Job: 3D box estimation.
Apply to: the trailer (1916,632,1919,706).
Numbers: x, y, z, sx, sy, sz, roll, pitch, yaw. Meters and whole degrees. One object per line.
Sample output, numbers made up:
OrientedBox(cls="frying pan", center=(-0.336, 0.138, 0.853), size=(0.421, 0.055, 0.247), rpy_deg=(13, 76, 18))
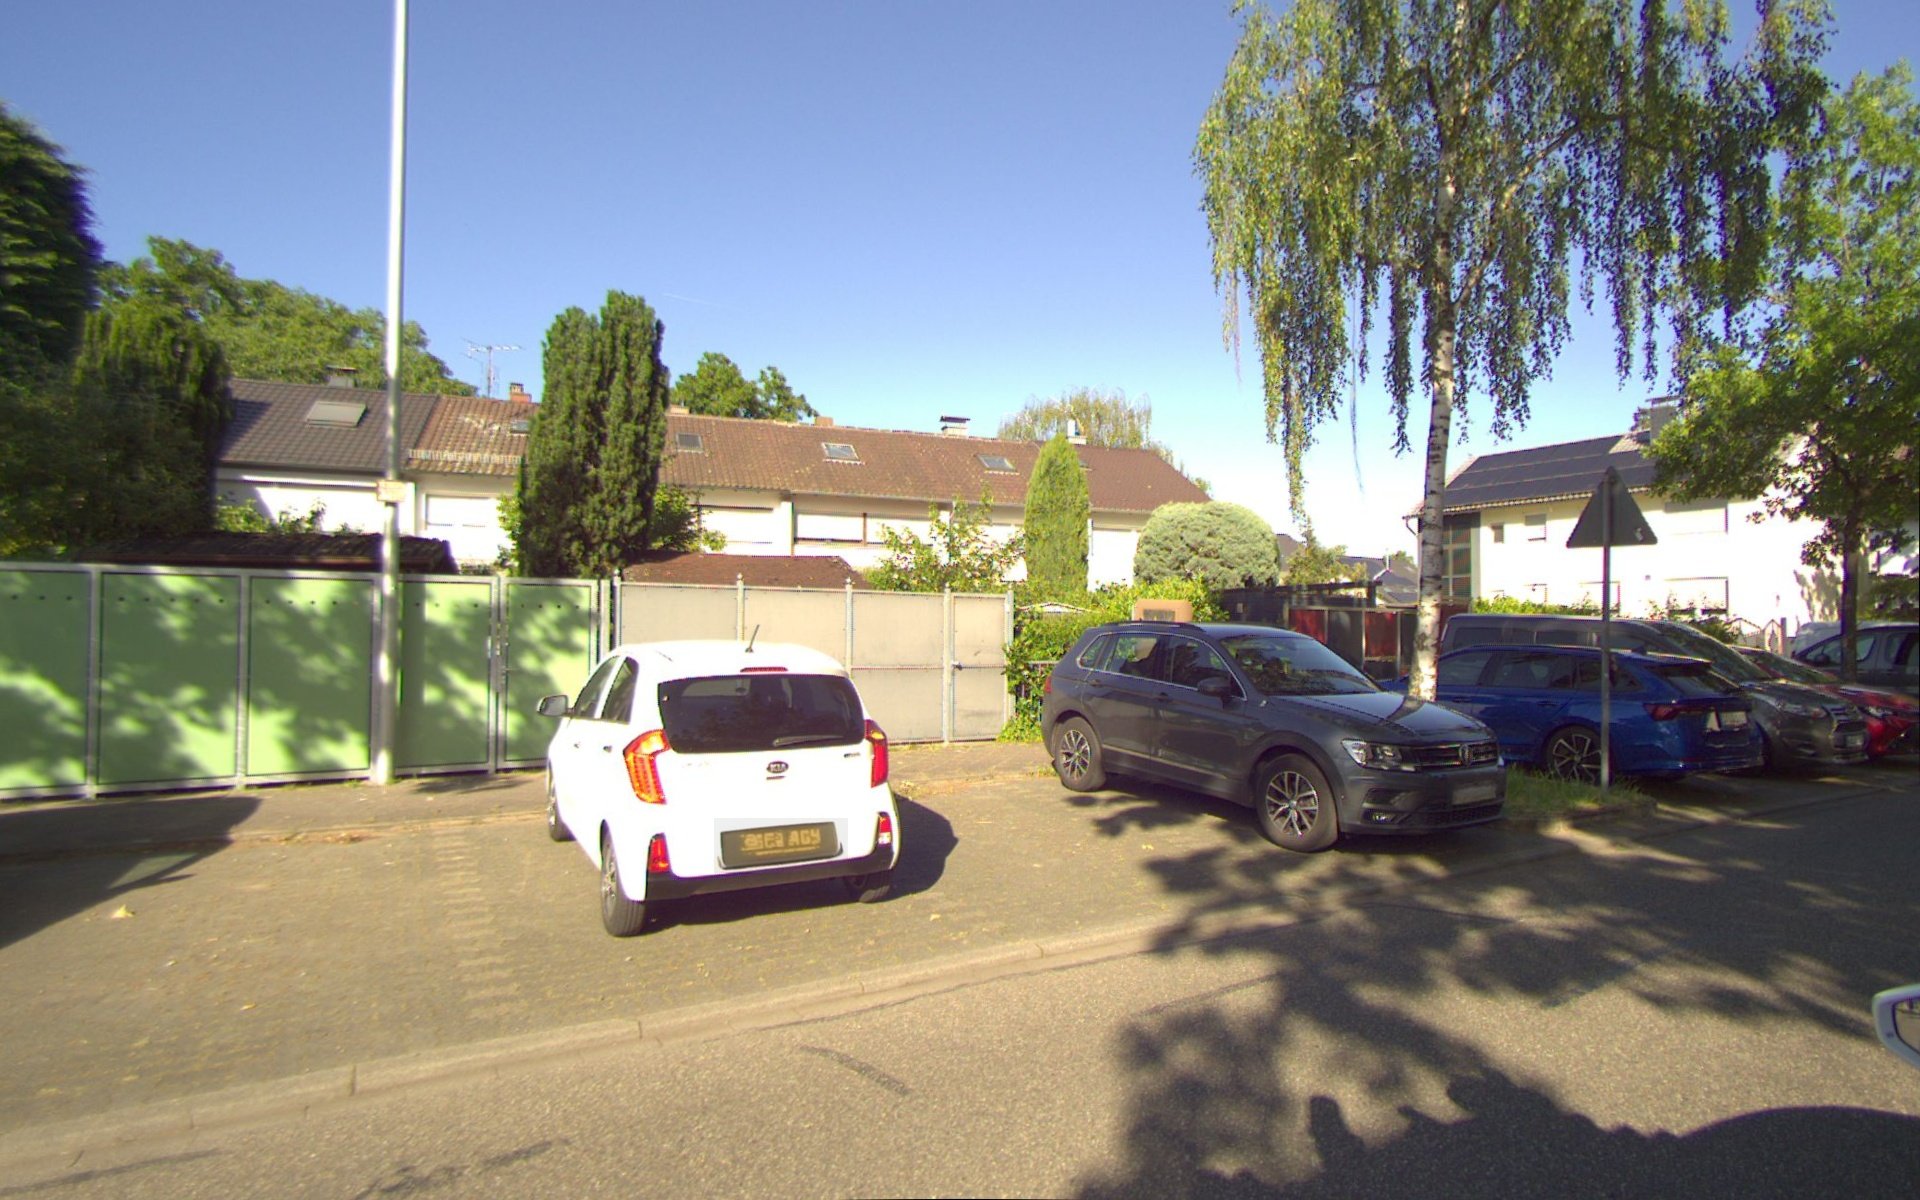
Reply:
OrientedBox(cls="trailer", center=(23.109, 1.558, 22.401), size=(1.456, 1.696, 2.227), rpy_deg=(1, -2, -28))

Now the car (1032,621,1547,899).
OrientedBox(cls="car", center=(2.532, 1.093, 8.784), size=(1.740, 1.747, 4.189), rpy_deg=(1, -1, -30))

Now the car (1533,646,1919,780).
OrientedBox(cls="car", center=(10.808, 1.428, 14.124), size=(1.817, 1.519, 4.451), rpy_deg=(1, -2, -33))

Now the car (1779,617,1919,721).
OrientedBox(cls="car", center=(18.986, 1.355, 19.647), size=(1.980, 1.969, 4.210), rpy_deg=(3, -3, -34))

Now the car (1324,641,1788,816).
OrientedBox(cls="car", center=(6.412, 1.257, 11.363), size=(1.703, 1.443, 4.253), rpy_deg=(1, -1, -29))

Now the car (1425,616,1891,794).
OrientedBox(cls="car", center=(8.691, 1.148, 13.008), size=(1.775, 1.792, 4.648), rpy_deg=(1, 0, -32))

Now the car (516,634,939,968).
OrientedBox(cls="car", center=(-1.850, 1.011, 6.829), size=(1.773, 1.535, 3.984), rpy_deg=(1, -2, -29))

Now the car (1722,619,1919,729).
OrientedBox(cls="car", center=(16.710, 1.310, 18.226), size=(1.947, 1.793, 4.212), rpy_deg=(1, 0, -34))
